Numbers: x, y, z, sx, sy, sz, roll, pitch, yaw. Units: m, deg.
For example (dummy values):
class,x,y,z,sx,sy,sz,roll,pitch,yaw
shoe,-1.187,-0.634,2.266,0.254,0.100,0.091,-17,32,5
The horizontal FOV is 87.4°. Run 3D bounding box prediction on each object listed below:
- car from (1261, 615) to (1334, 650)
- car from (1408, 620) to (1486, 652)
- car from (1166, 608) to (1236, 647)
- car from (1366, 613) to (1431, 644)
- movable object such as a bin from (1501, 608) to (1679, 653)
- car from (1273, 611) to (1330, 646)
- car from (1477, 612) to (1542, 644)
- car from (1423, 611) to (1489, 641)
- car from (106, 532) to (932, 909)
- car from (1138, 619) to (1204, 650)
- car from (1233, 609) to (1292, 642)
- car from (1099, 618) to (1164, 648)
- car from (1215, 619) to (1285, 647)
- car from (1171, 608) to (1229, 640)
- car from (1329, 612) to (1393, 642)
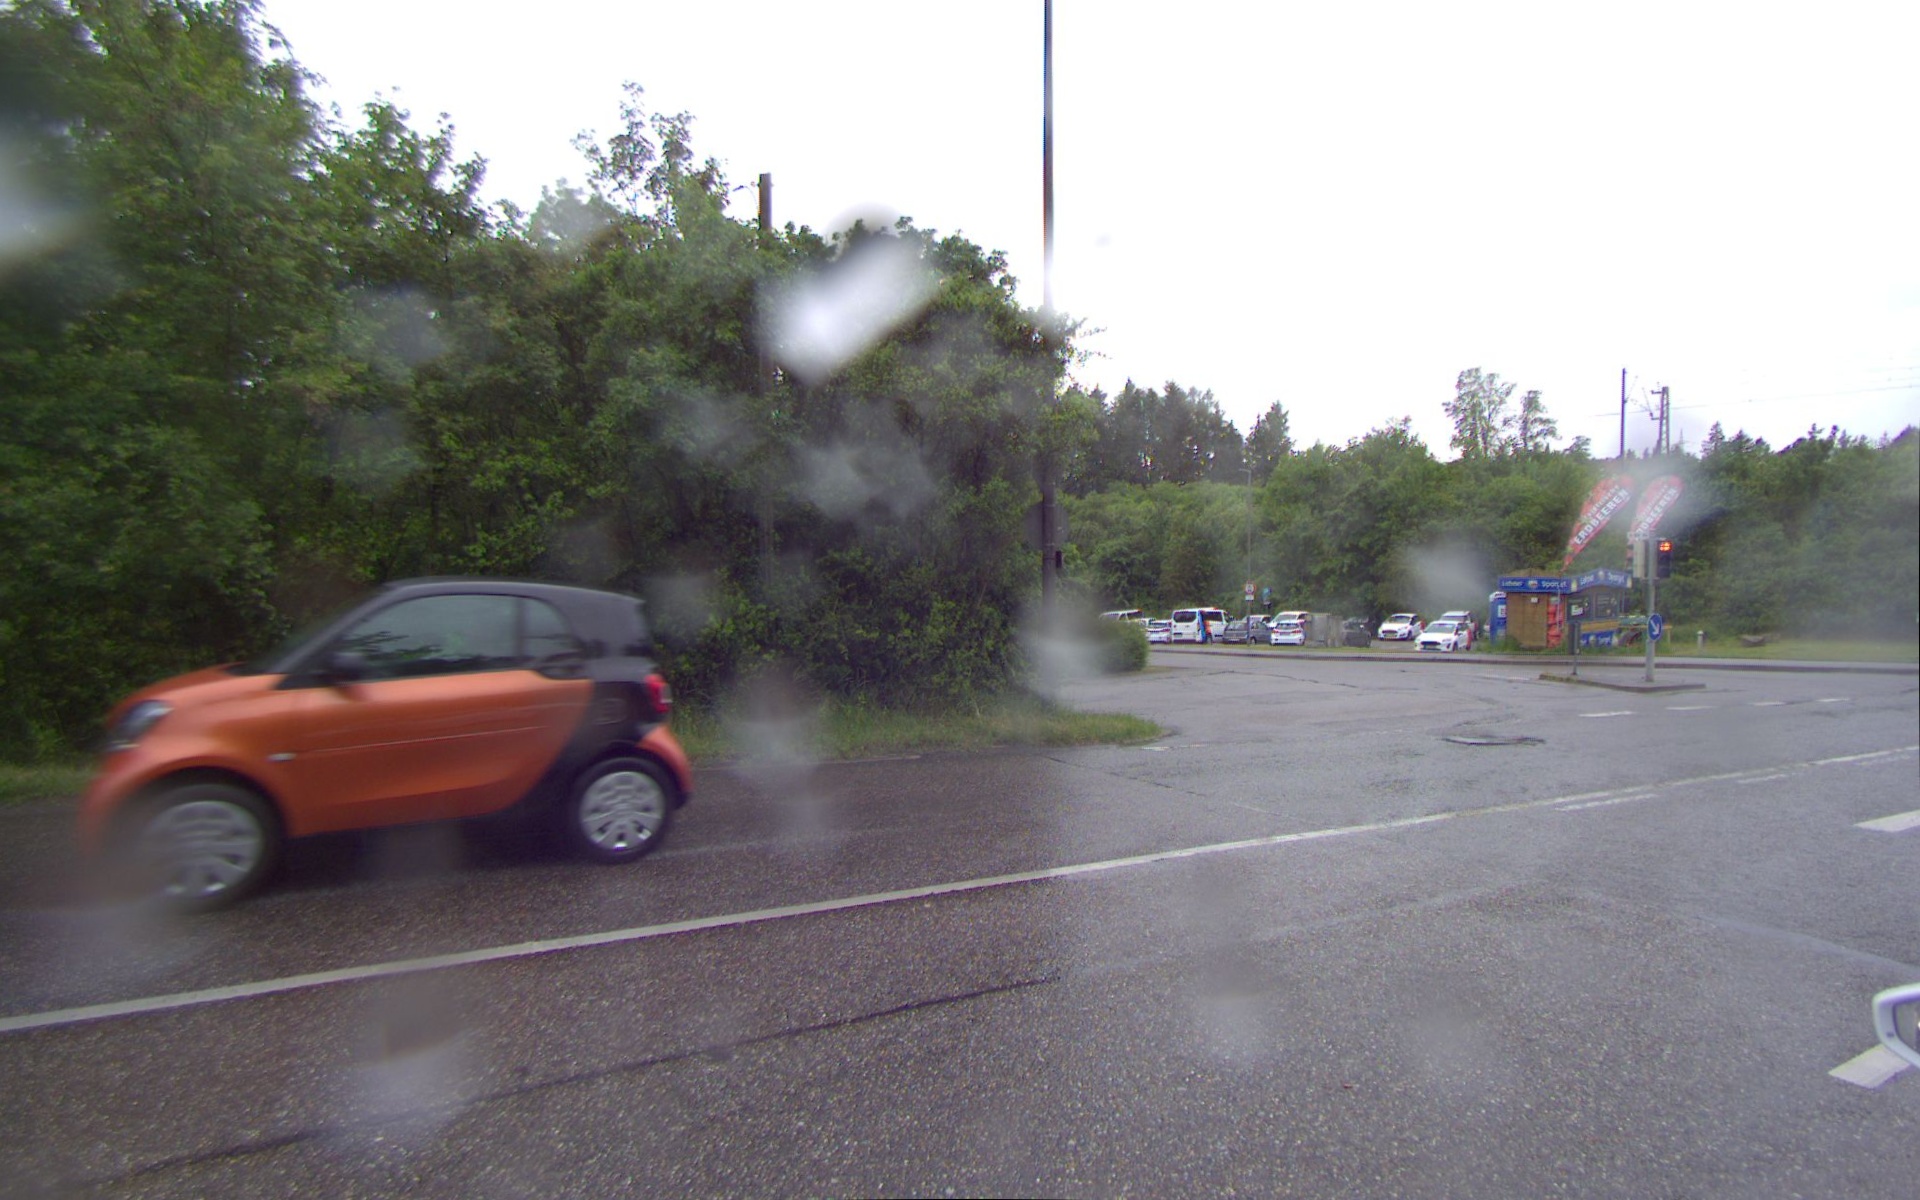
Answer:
class,x,y,z,sx,sy,sz,roll,pitch,yaw
car,17.226,1.668,51.186,3.880,1.606,1.918,3,-1,-43
car,22.553,1.681,46.439,4.868,1.358,1.636,3,-1,-43
car,13.077,1.488,54.284,1.971,1.974,3.978,1,-1,42
car,25.035,1.627,57.336,3.972,1.606,1.975,3,-1,-43
movable object such as a bin,26.152,1.247,41.948,5.663,1.649,2.753,2,-1,10
car,21.383,1.754,62.795,1.916,2.040,3.846,1,0,43
car,29.607,1.501,54.072,3.972,1.606,1.975,2,-2,-43
car,27.314,1.433,55.256,3.972,1.606,1.975,2,-2,-43
car,-2.392,0.584,6.149,3.954,1.606,1.984,3,-1,-30
car,11.854,1.925,56.222,1.834,1.606,3.978,1,-1,42
car,19.514,1.623,64.677,3.973,2.040,1.974,2,-2,-44
car,9.940,1.902,58.119,1.813,1.606,3.978,1,-1,42
car,15.338,1.764,53.034,3.972,1.327,1.734,3,-1,-43
car,16.272,1.593,67.960,3.973,2.040,1.974,1,0,-44
car,23.660,1.603,59.249,3.972,1.606,1.975,3,-1,-43
